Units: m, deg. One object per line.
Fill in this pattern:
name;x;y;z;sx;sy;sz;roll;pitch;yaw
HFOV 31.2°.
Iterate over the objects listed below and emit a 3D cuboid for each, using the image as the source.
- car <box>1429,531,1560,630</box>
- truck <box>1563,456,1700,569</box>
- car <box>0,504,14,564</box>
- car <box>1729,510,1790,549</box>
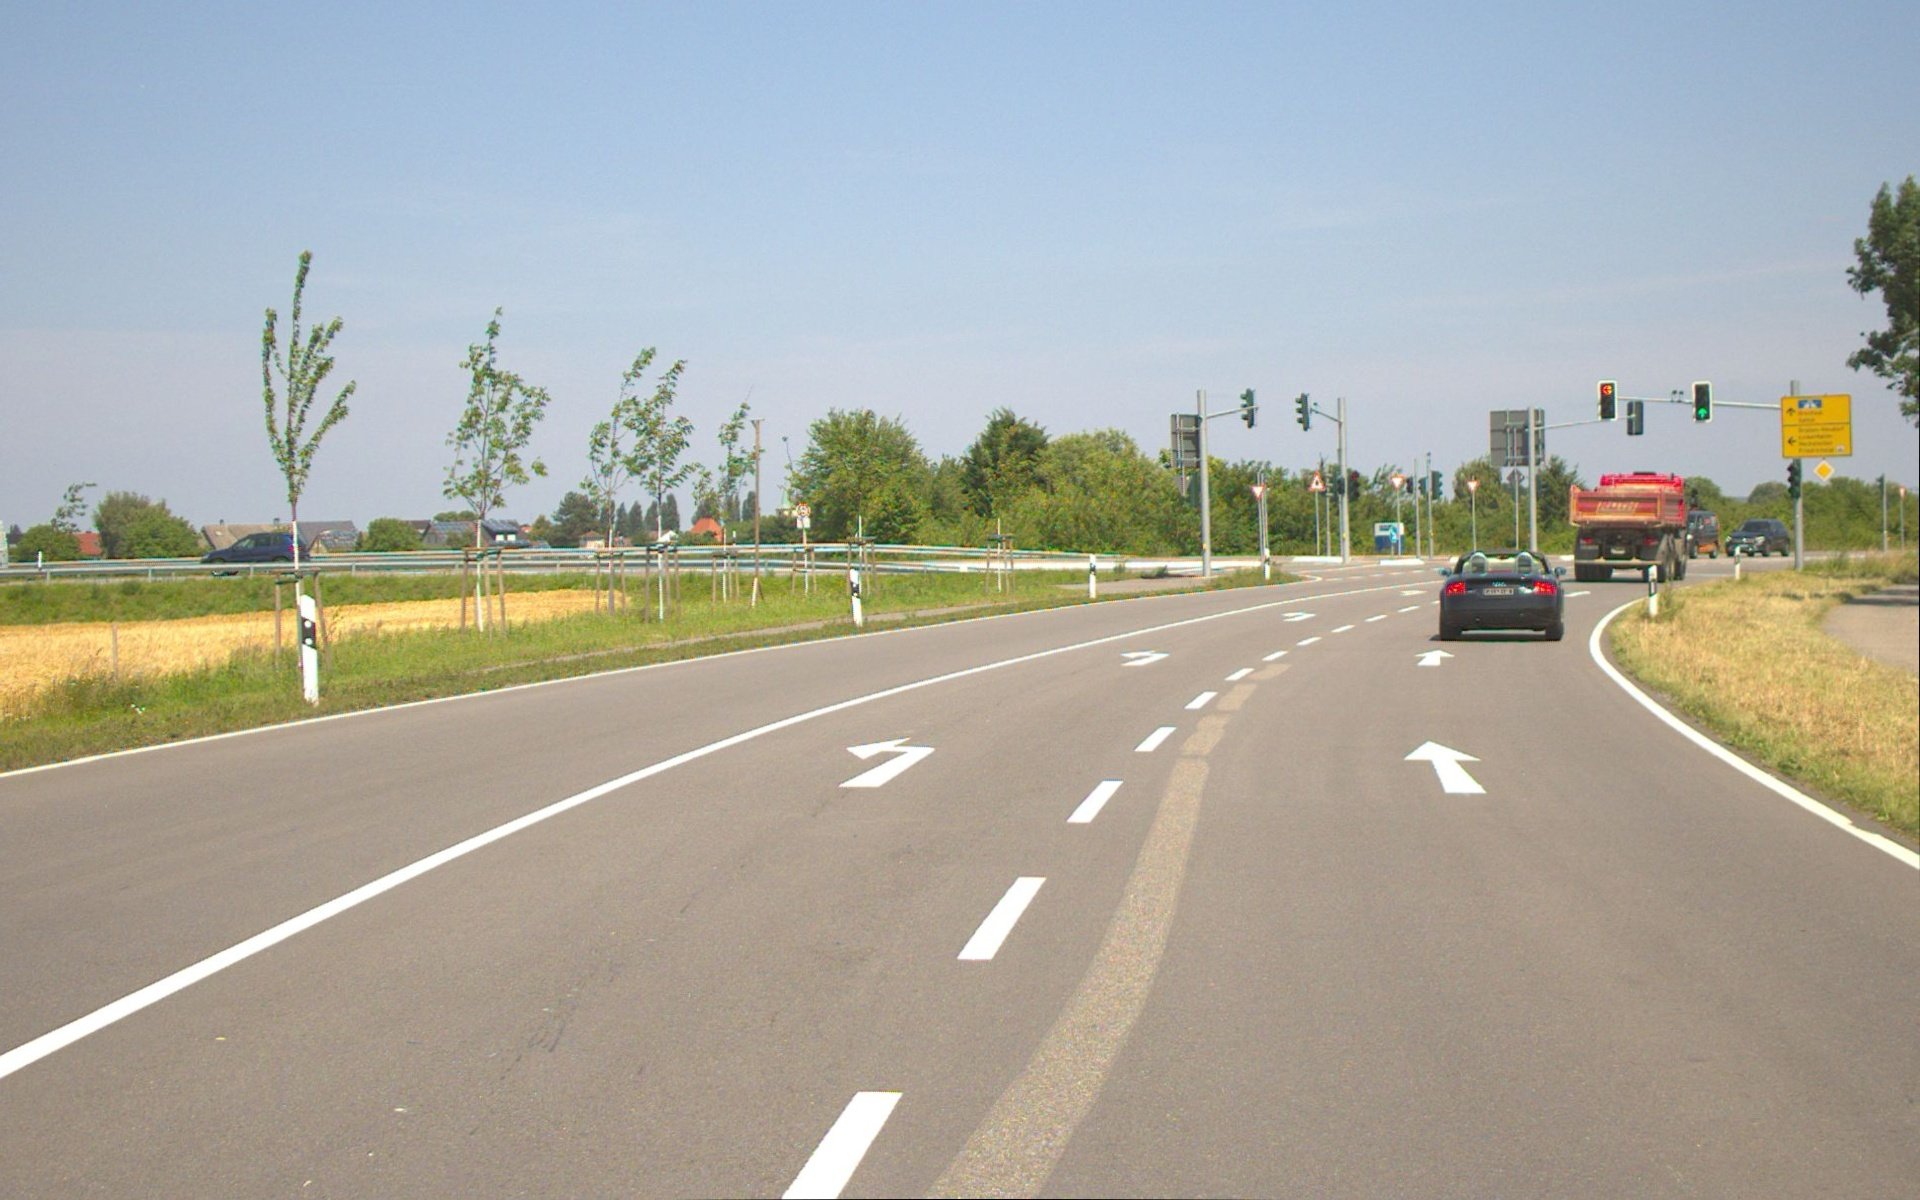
car;7.830;-0.280;50.157;1.748;1.371;3.677;1;0;11
truck;19.022;-2.397;96.994;2.716;3.042;8.157;0;0;19
car;-41.689;-2.659;139.511;5.918;2.413;2.248;0;1;2
car;35.956;-3.177;154.590;1.933;1.733;4.884;0;2;22
